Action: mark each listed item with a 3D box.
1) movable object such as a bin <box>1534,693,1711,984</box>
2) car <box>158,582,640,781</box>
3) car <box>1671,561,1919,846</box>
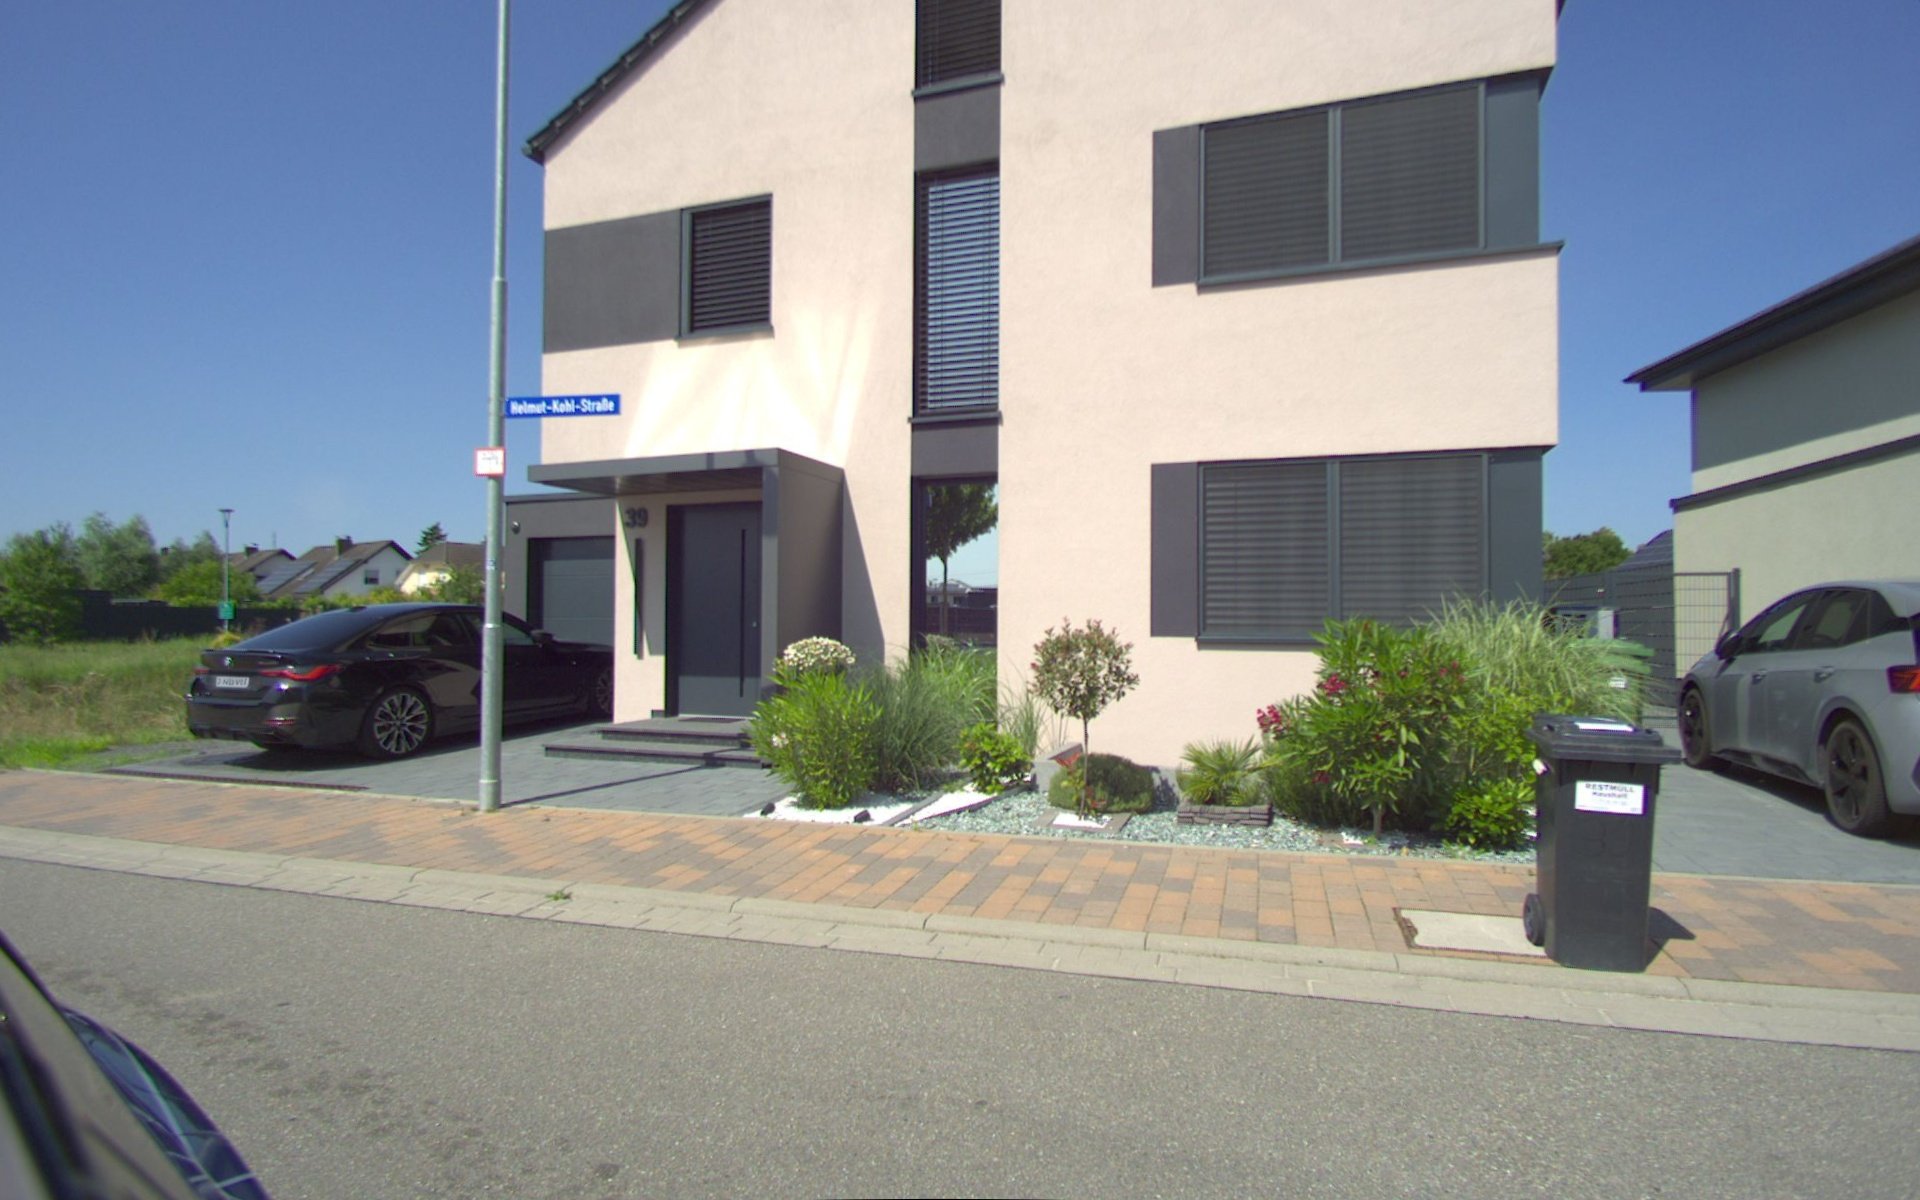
[{"bbox_3d":[2.509,0.861,3.878,0.524,0.943,0.531,-1,0,30],"label":"movable object such as a bin"},{"bbox_3d":[-5.568,0.699,10.758,1.759,1.644,4.356,-1,-1,23],"label":"car"},{"bbox_3d":[6.425,0.562,6.690,1.740,1.498,3.975,-1,-1,19],"label":"car"}]
